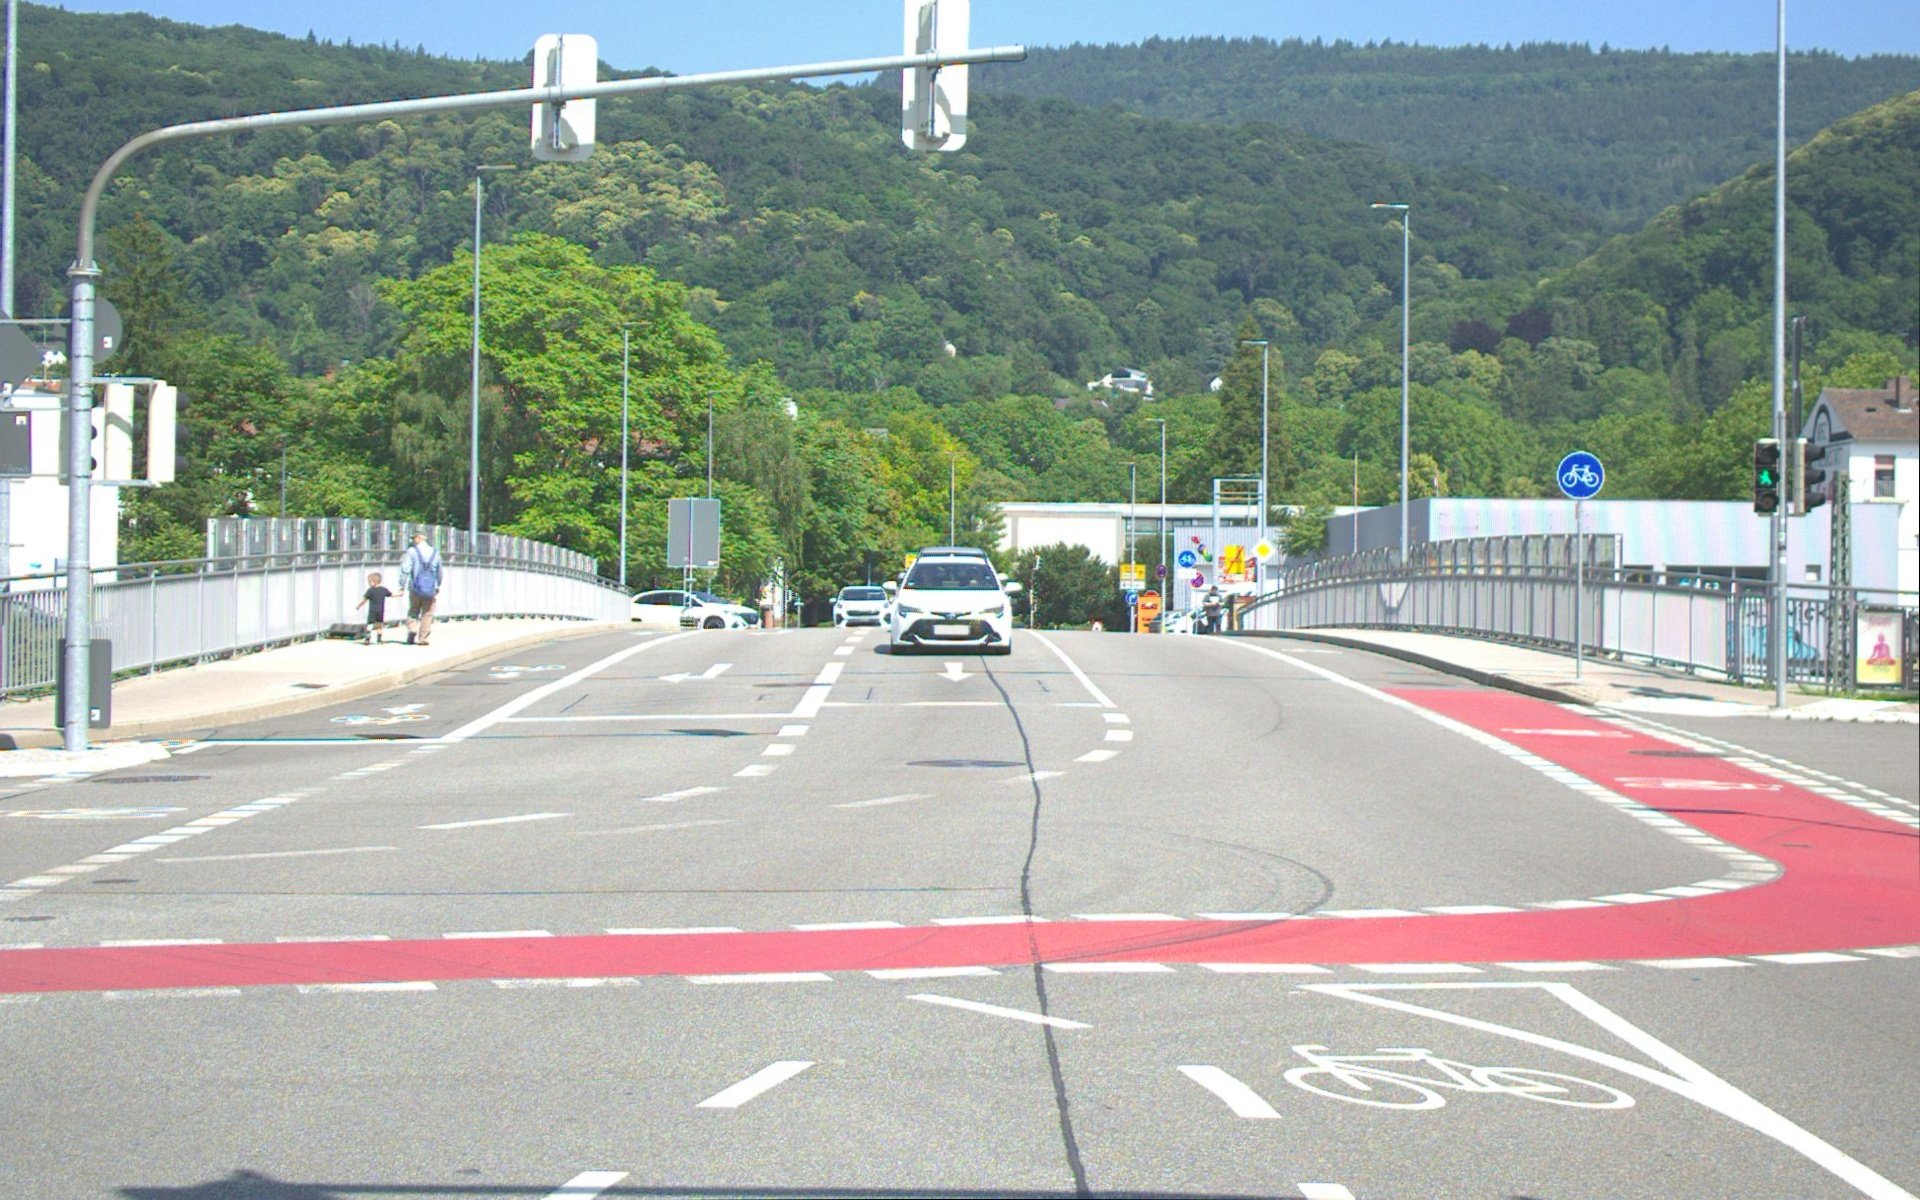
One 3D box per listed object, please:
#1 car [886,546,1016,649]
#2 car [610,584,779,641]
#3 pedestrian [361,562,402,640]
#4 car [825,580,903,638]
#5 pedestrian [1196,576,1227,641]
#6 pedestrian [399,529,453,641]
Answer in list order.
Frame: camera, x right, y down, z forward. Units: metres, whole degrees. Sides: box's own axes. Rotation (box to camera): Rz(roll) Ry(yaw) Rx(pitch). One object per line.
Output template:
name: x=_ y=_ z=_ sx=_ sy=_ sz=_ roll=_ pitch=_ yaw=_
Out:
car: x=-0.176 y=-0.060 z=51.499 sx=1.731 sy=1.464 sz=4.411 roll=1 pitch=1 yaw=-3
car: x=-8.499 y=0.376 z=109.838 sx=5.053 sy=1.713 sz=1.997 roll=1 pitch=1 yaw=26
pedestrian: x=-8.409 y=0.014 z=49.986 sx=0.511 sy=1.117 sz=0.476 roll=1 pitch=0 yaw=-1
car: x=-2.958 y=0.263 z=106.568 sx=1.994 sy=1.713 sz=4.632 roll=1 pitch=1 yaw=4
pedestrian: x=7.819 y=0.257 z=106.984 sx=0.855 sy=2.007 sz=1.155 roll=1 pitch=0 yaw=-1
pedestrian: x=-7.805 y=-0.221 z=50.243 sx=0.643 sy=1.612 sz=0.921 roll=1 pitch=0 yaw=-1
